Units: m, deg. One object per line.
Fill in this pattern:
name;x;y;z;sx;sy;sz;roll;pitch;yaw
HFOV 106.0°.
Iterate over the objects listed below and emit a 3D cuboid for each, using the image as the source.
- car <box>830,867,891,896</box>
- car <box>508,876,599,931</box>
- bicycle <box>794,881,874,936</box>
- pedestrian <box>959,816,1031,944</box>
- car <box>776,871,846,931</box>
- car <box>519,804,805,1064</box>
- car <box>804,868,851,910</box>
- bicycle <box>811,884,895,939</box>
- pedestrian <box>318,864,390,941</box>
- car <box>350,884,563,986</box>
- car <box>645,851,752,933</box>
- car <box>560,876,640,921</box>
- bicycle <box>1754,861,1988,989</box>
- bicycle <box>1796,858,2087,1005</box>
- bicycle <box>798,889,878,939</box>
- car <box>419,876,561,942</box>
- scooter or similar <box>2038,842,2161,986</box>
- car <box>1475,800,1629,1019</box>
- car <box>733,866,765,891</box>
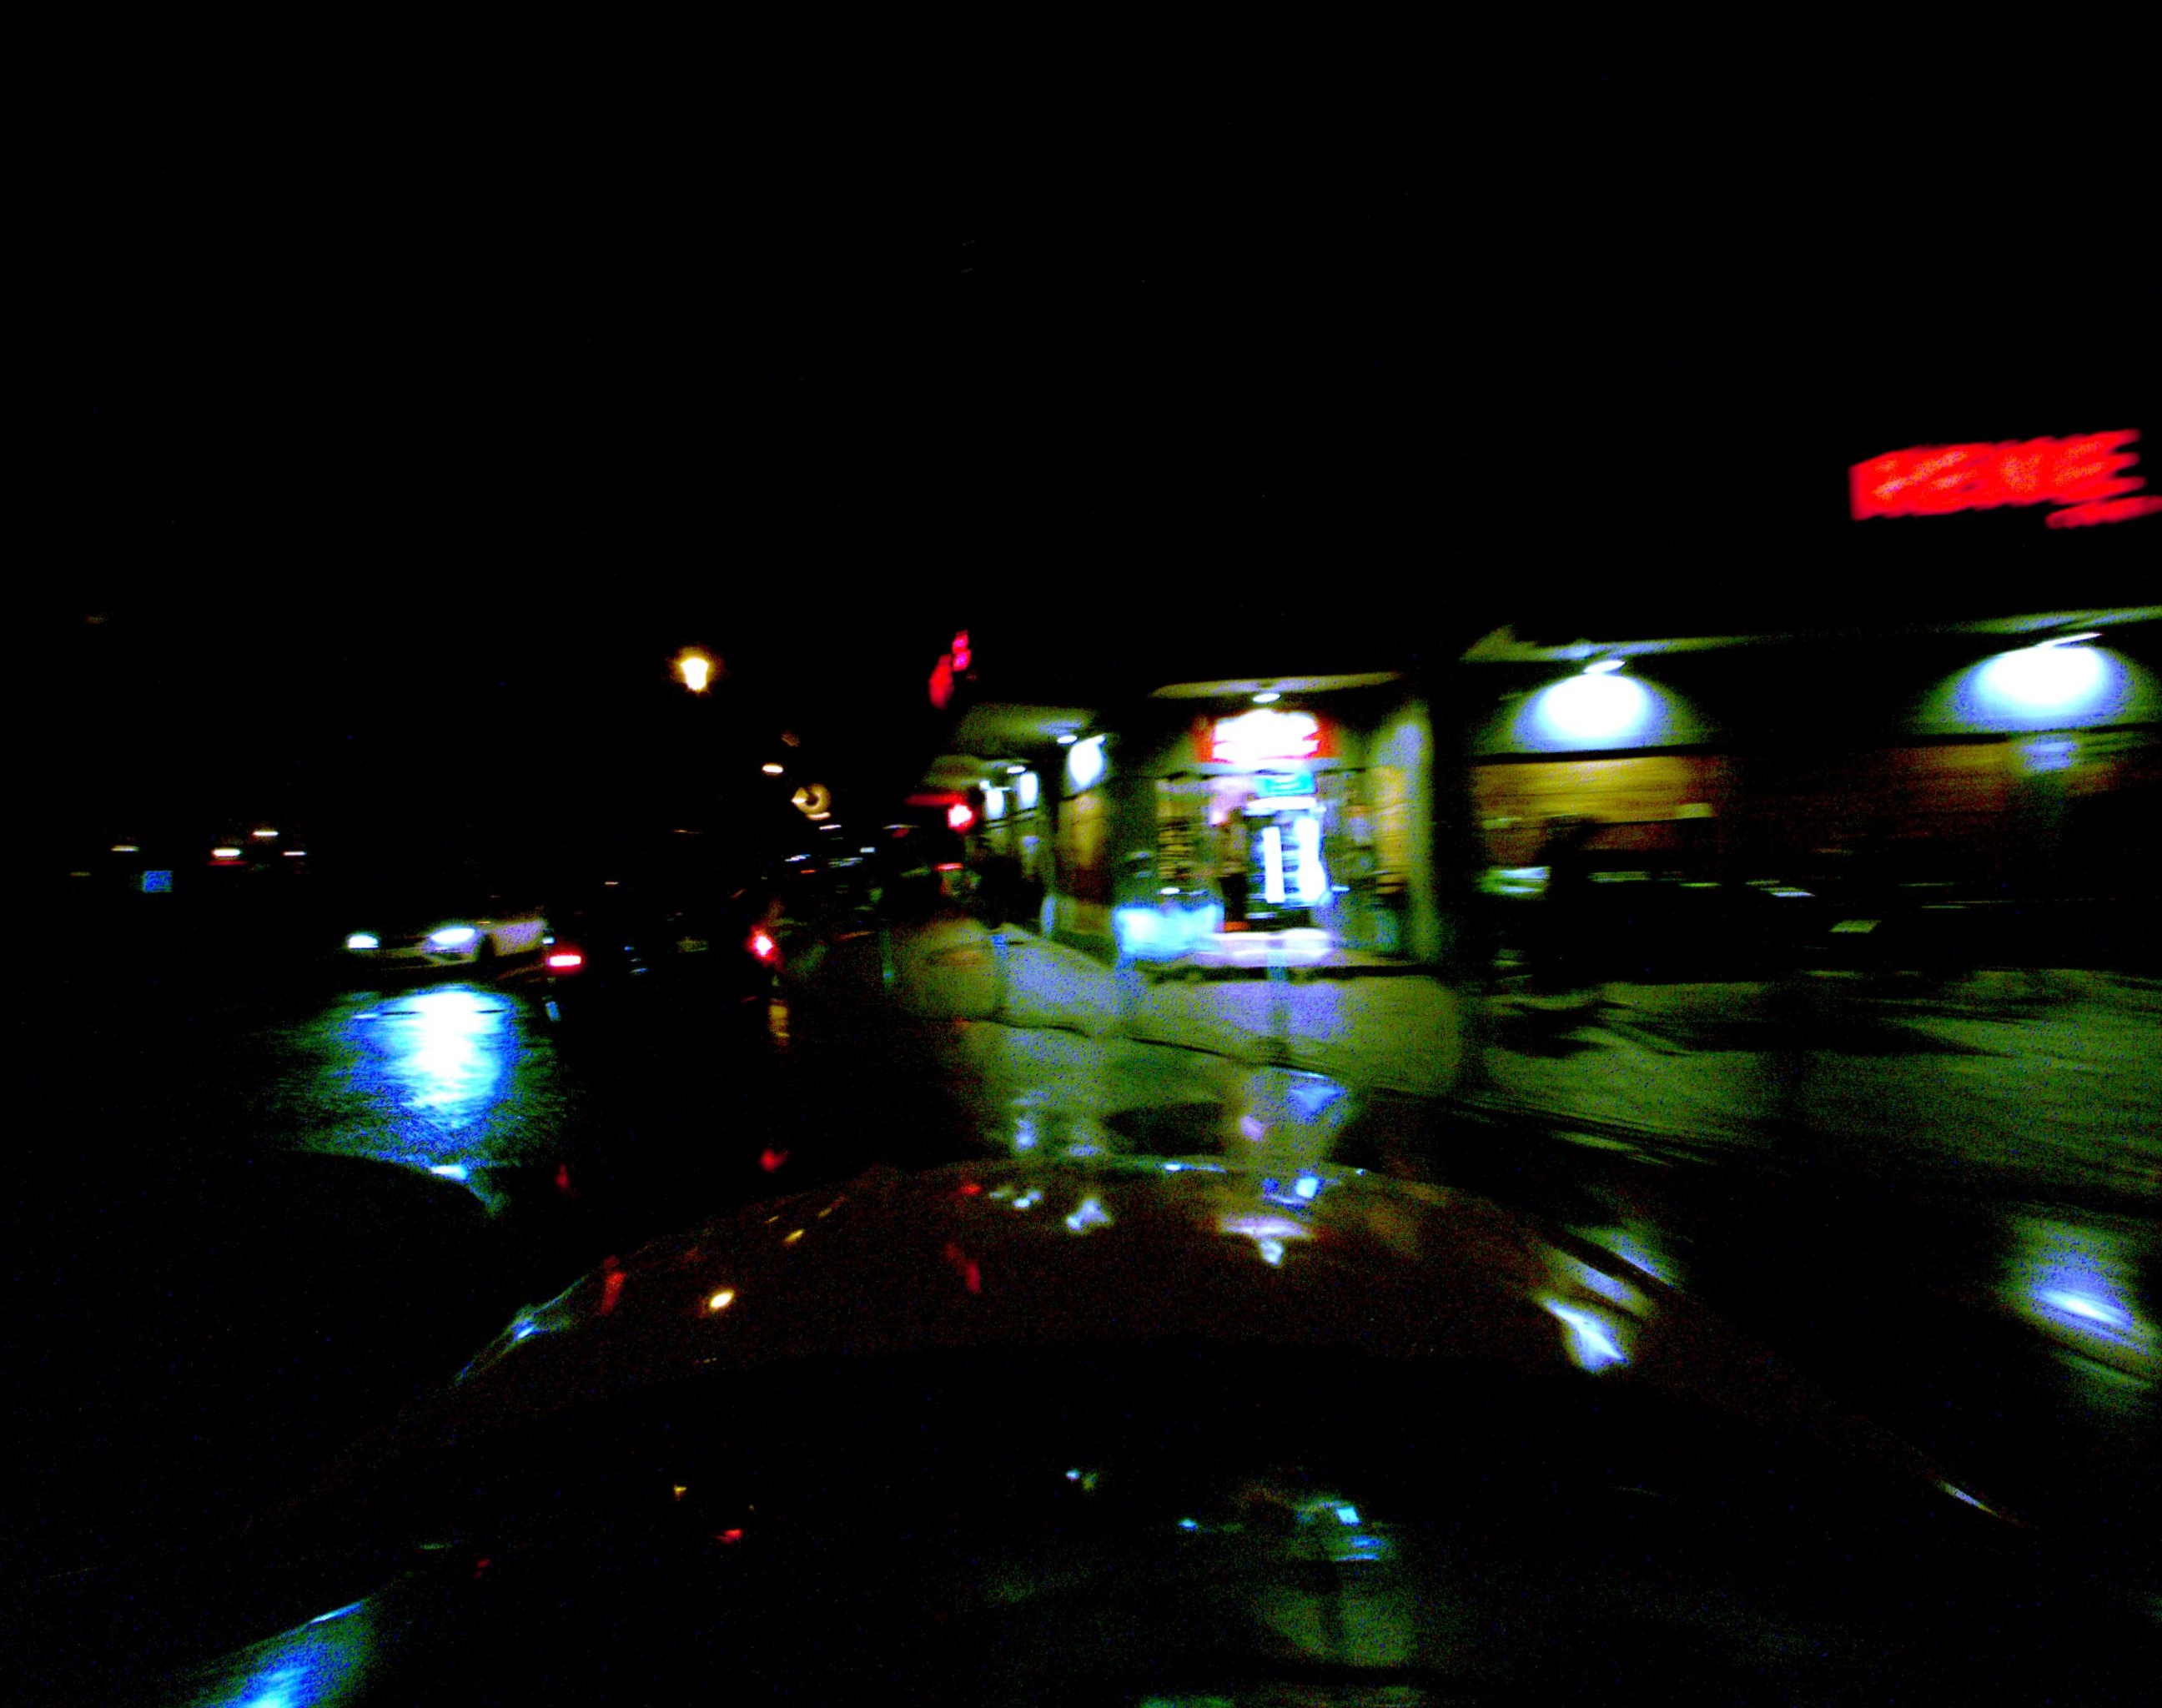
car;-16.816;2.075;62.075;4.014;2.014;1.979;-2;-2;-32
car;-16.345;1.493;25.363;1.589;1.510;2.773;-1;-1;-15
bicycle;-6.017;1.315;19.875;1.767;1.124;0.433;-5;1;-18
pedestrian;-1.581;0.453;14.832;1.056;2.208;0.965;-3;-1;-16
car;-7.731;1.296;23.541;1.757;1.566;4.130;0;-2;-17
car;-4.680;0.644;8.747;2.138;1.991;4.552;-1;-1;-34
car;-10.421;1.432;33.619;1.757;1.608;3.966;0;-2;-17
bicycle;-5.168;1.294;18.474;1.788;1.125;0.433;-2;0;-18
pedestrian;-16.996;1.112;19.063;0.804;1.766;1.012;0;-2;-10
car;-11.243;1.352;15.020;1.565;1.427;4.049;-3;0;-14
car;-10.149;0.926;21.977;2.129;1.922;4.794;0;-1;-19
car;-17.370;1.554;29.573;1.589;1.449;3.485;-1;0;-15
bicycle;7.560;0.660;7.850;1.631;1.174;0.385;0;-3;12
bicycle;7.250;0.647;6.925;1.769;1.174;0.385;-1;0;12
bicycle;-5.744;1.408;19.260;1.766;1.079;0.433;-2;0;-18
car;-15.157;1.361;21.149;1.589;1.463;4.003;2;-1;-15
scooter or similar;9.620;0.506;7.404;0.521;1.229;1.318;0;0;14
car;4.221;0.473;7.380;0.955;1.841;0.880;-1;0;11
car;-27.550;2.042;67.750;1.997;2.014;3.978;0;-1;-16
